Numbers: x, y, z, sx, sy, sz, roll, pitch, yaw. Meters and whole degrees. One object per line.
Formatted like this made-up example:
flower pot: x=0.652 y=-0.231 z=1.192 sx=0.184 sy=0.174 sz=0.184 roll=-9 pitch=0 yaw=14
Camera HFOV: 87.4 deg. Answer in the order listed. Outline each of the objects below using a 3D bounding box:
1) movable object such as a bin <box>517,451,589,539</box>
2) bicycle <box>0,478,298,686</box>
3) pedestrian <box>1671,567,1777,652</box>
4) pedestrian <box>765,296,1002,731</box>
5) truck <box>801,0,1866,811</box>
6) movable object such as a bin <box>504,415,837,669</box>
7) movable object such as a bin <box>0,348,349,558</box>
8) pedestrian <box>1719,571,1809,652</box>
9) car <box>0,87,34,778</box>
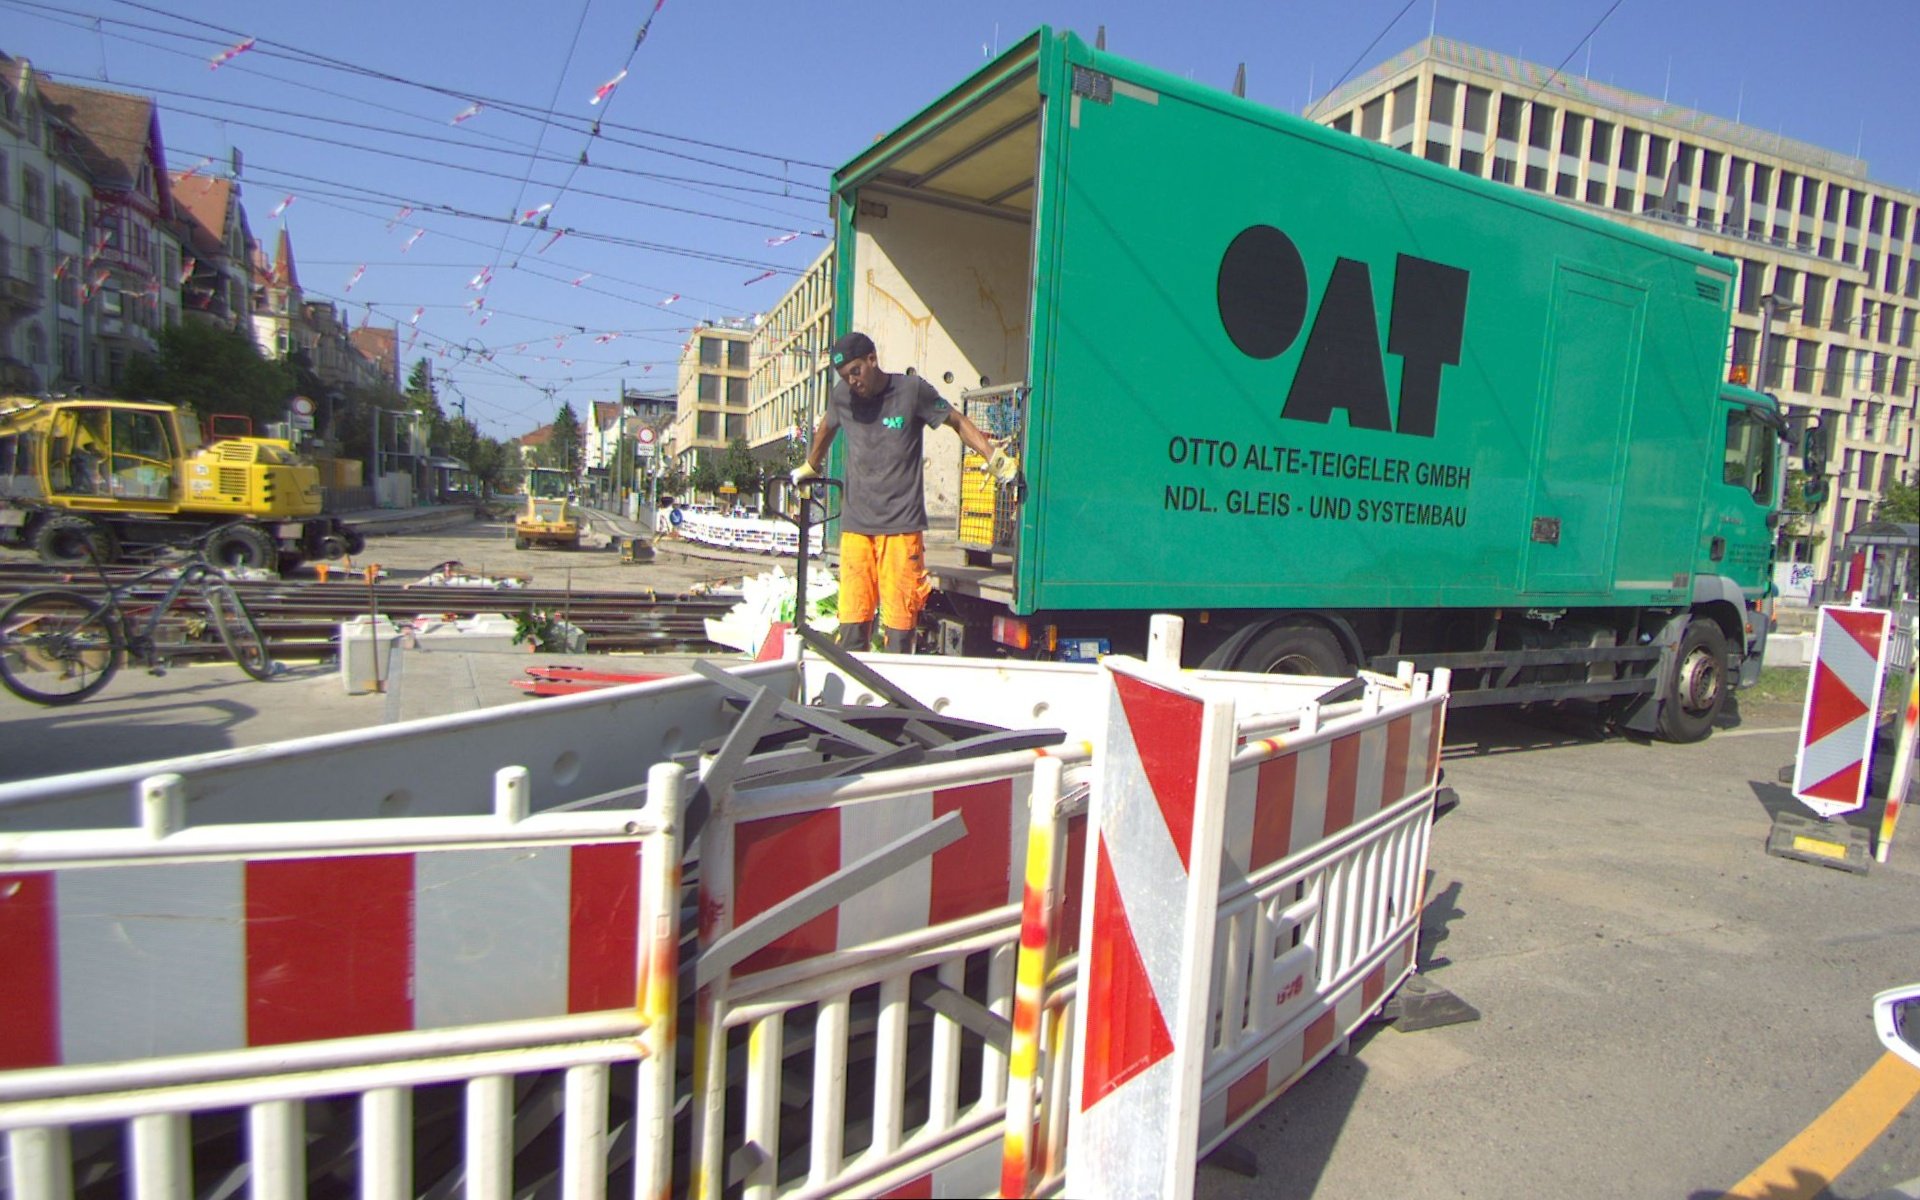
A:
movable object such as a bin: x=-14.486 y=-3.741 z=36.006 sx=2.103 sy=2.776 sz=5.603 roll=2 pitch=5 yaw=-20
bicycle: x=-5.284 y=-0.159 z=6.459 sx=0.605 sy=1.152 sz=1.661 roll=5 pitch=5 yaw=22
pedestrian: x=13.312 y=0.138 z=17.547 sx=0.782 sy=1.324 sz=1.316 roll=3 pitch=5 yaw=4
pedestrian: x=-0.317 y=-0.378 z=4.417 sx=0.750 sy=1.717 sz=0.707 roll=5 pitch=5 yaw=16
truck: x=3.165 y=-0.994 z=7.554 sx=8.114 sy=3.728 sz=2.661 roll=1 pitch=5 yaw=-29
movable object such as a bin: x=-1.408 y=-0.270 z=4.997 sx=1.457 sy=1.107 sz=0.643 roll=2 pitch=5 yaw=-16
movable object such as a bin: x=-16.495 y=-2.720 z=18.724 sx=8.216 sy=3.375 sz=2.843 roll=2 pitch=4 yaw=-19
pedestrian: x=14.094 y=0.187 z=17.635 sx=0.782 sy=1.324 sz=0.840 roll=3 pitch=5 yaw=4
car: x=-5.673 y=-0.624 z=2.086 sx=5.113 sy=2.766 sz=2.212 roll=1 pitch=5 yaw=-32
